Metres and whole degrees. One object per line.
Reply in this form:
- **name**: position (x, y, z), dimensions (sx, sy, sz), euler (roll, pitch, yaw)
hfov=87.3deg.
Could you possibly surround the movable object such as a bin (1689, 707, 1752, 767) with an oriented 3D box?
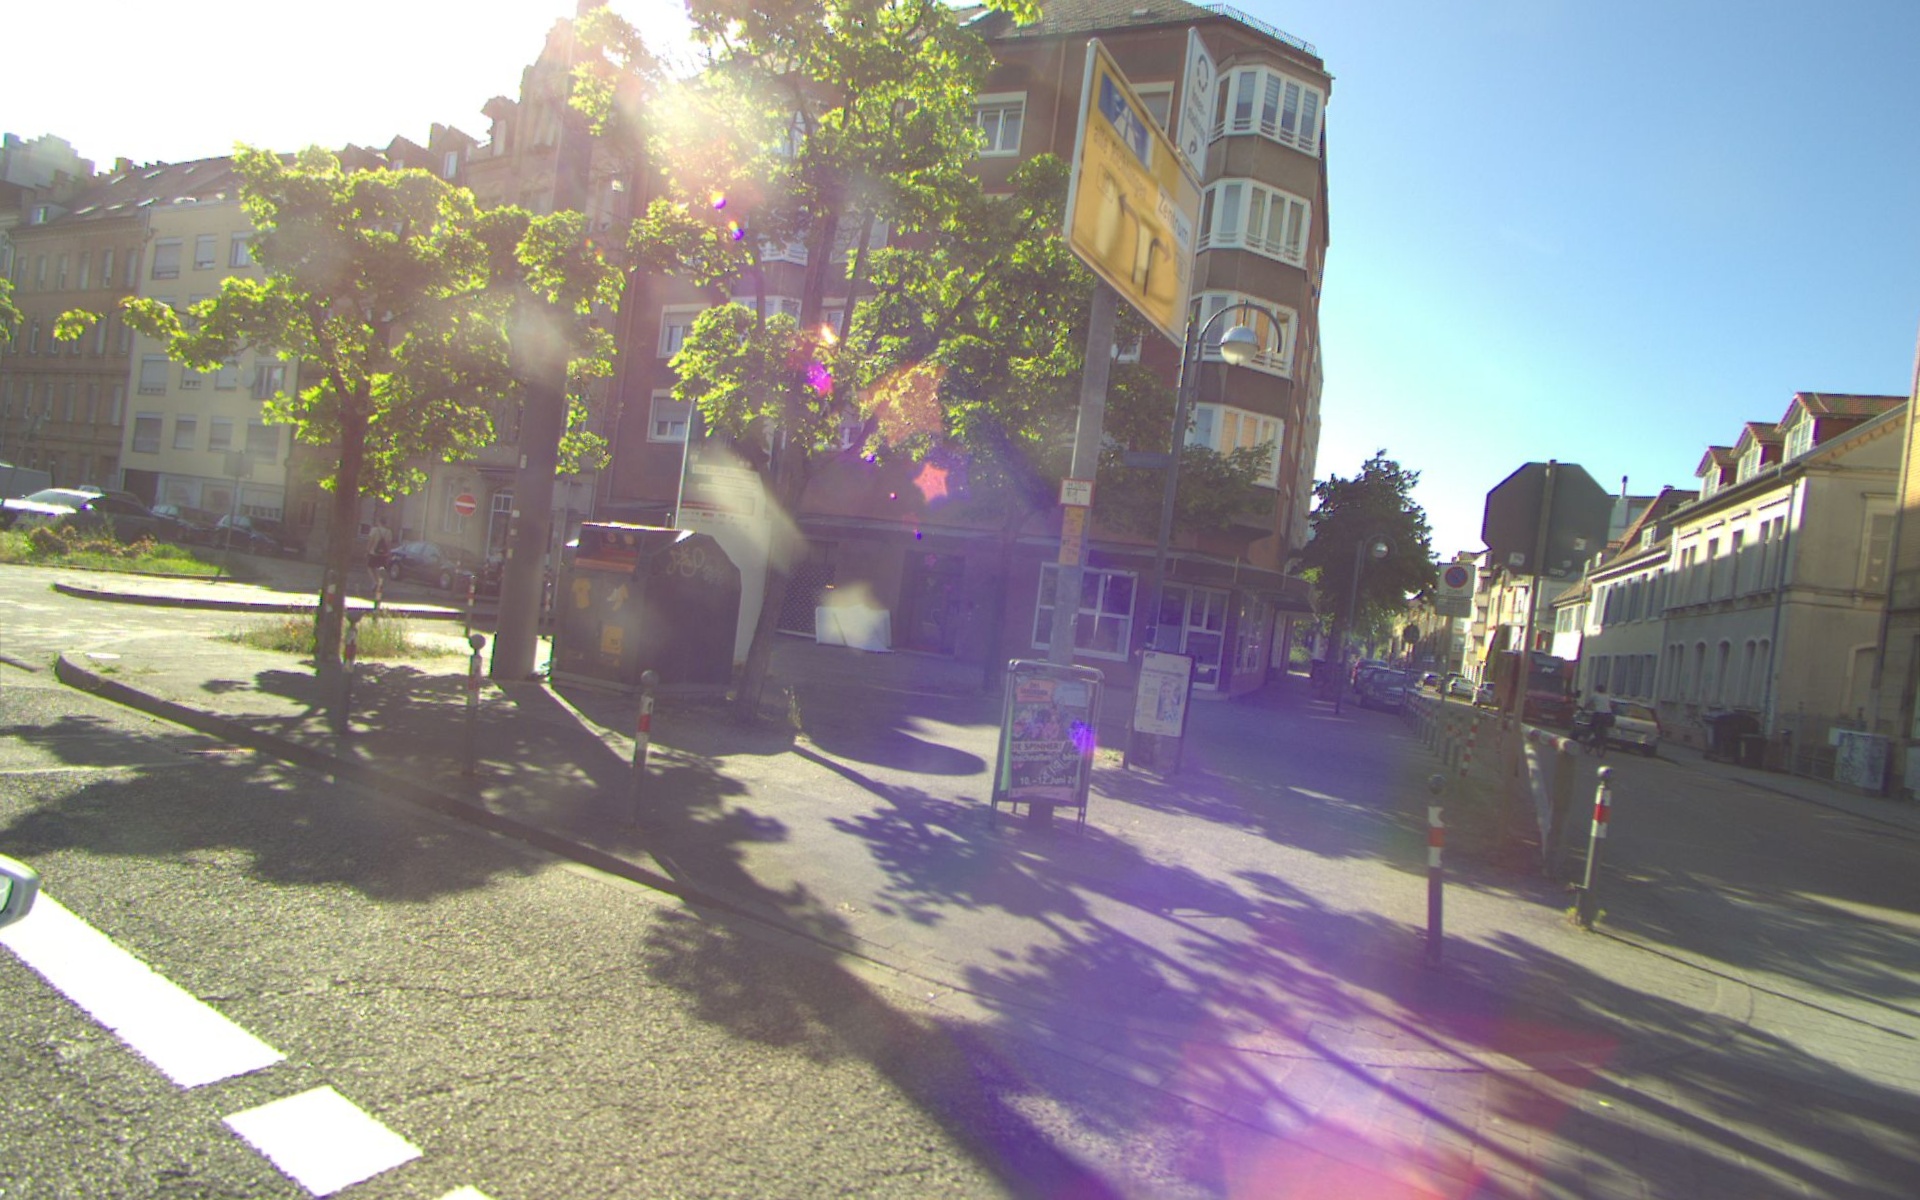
- **movable object such as a bin**: position (21.858, 3.917, 28.932), dimensions (1.016, 1.462, 1.217), euler (8, 1, 23)

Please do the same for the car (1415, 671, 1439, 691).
- **car**: position (45.454, 7.849, 97.915), dimensions (1.605, 1.563, 4.000), euler (8, 0, 20)

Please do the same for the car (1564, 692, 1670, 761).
- **car**: position (19.878, 3.783, 30.614), dimensions (1.605, 1.563, 4.000), euler (8, 0, 19)

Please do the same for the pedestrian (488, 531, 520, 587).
- **pedestrian**: position (-15.363, -1.386, 33.894), dimensions (0.605, 1.780, 0.570), euler (8, 2, 30)

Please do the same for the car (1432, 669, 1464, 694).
- **car**: position (37.851, 6.294, 78.047), dimensions (1.605, 1.563, 4.000), euler (8, 0, 20)

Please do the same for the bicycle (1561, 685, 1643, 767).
- **bicycle**: position (15.603, 3.017, 24.530), dimensions (0.991, 1.701, 2.141), euler (8, 0, 19)

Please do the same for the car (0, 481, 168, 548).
- **car**: position (-24.268, -2.287, 27.265), dimensions (1.985, 1.453, 4.872), euler (7, 2, -5)

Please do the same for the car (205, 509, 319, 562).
- **car**: position (-26.636, -2.474, 38.375), dimensions (4.218, 1.439, 1.731), euler (8, 1, 28)

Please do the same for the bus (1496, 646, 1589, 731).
- **bus**: position (25.006, 3.718, 43.423), dimensions (2.379, 3.105, 6.263), euler (8, 0, 23)

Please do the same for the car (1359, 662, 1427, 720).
- **car**: position (14.944, 3.091, 34.884), dimensions (1.816, 1.593, 3.999), euler (8, 0, 21)

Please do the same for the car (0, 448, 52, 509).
- **car**: position (-46.330, -6.021, 48.775), dimensions (4.435, 2.619, 1.996), euler (8, 3, 29)

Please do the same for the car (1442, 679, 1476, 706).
- **car**: position (35.842, 6.599, 72.336), dimensions (1.605, 1.563, 4.000), euler (8, 0, 20)

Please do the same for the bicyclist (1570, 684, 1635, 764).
- **bicyclist**: position (15.679, 3.003, 24.590), dimensions (0.903, 1.746, 1.050), euler (8, 1, 19)

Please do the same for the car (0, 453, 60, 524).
- **car**: position (-30.632, -3.600, 30.823), dimensions (1.986, 2.102, 4.870), euler (7, 2, -7)

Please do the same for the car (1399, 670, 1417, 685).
- **car**: position (55.482, 9.546, 124.608), dimensions (1.605, 1.563, 4.000), euler (8, 0, 20)

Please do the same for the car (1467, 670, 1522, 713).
- **car**: position (29.838, 5.065, 56.273), dimensions (1.963, 2.038, 4.000), euler (7, 0, 21)

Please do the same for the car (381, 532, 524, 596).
- **car**: position (-16.510, -1.178, 32.673), dimensions (4.414, 1.492, 1.996), euler (8, 1, 31)

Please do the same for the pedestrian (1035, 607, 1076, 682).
- **pedestrian**: position (2.365, 1.109, 24.970), dimensions (0.631, 1.782, 0.592), euler (8, 1, 28)

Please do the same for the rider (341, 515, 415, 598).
- **rider**: position (-14.250, -1.044, 24.651), dimensions (1.021, 1.843, 0.962), euler (8, 1, 6)

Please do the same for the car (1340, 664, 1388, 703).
- **car**: position (20.330, 4.159, 50.725), dimensions (1.963, 1.571, 3.999), euler (8, 0, 22)
